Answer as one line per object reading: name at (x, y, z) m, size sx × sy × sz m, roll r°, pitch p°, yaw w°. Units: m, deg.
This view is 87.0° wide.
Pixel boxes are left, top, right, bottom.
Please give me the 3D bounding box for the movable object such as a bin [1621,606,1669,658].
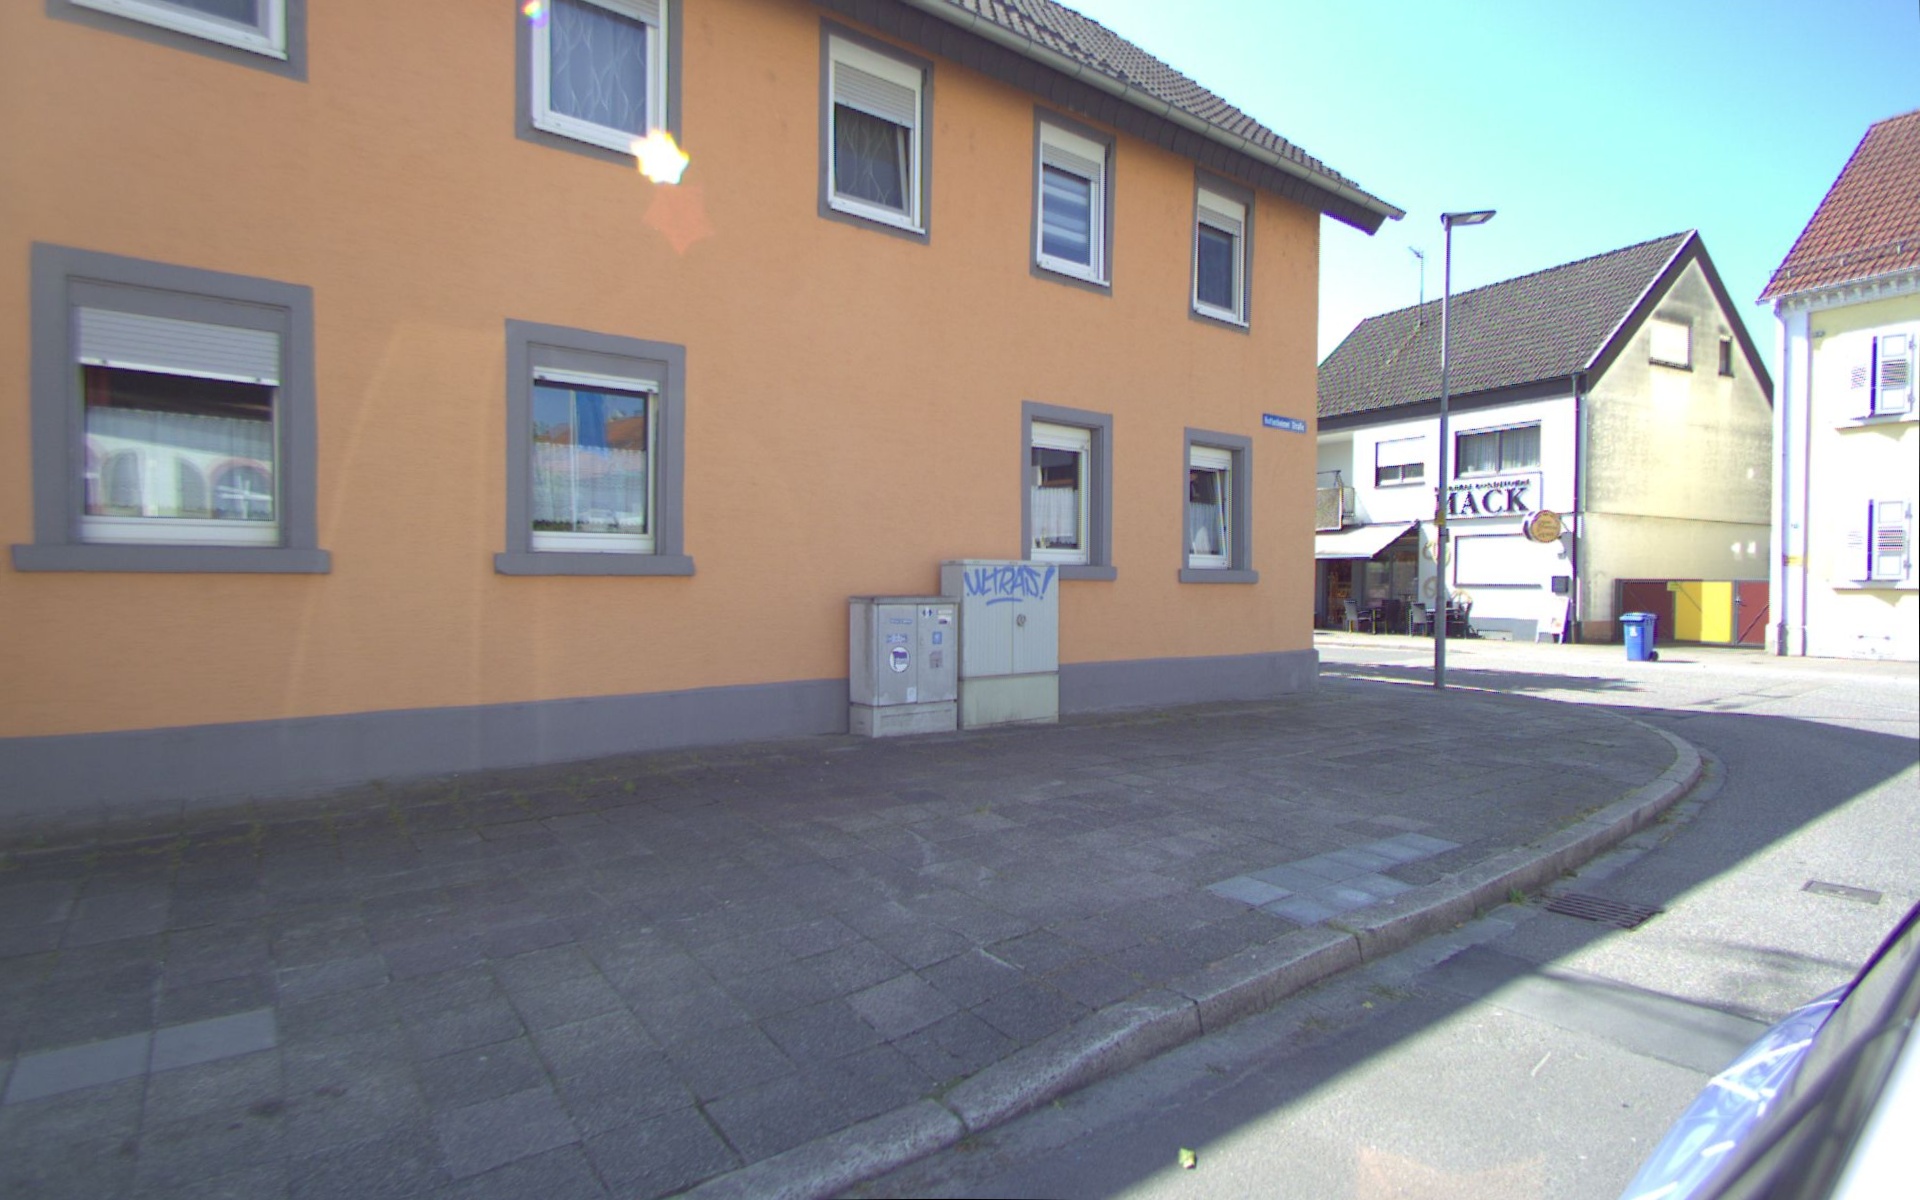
movable object such as a bin at (13.679, 0.635, 20.204) m, size 0.632 × 0.993 × 0.613 m, roll -1°, pitch 1°, yaw -35°
